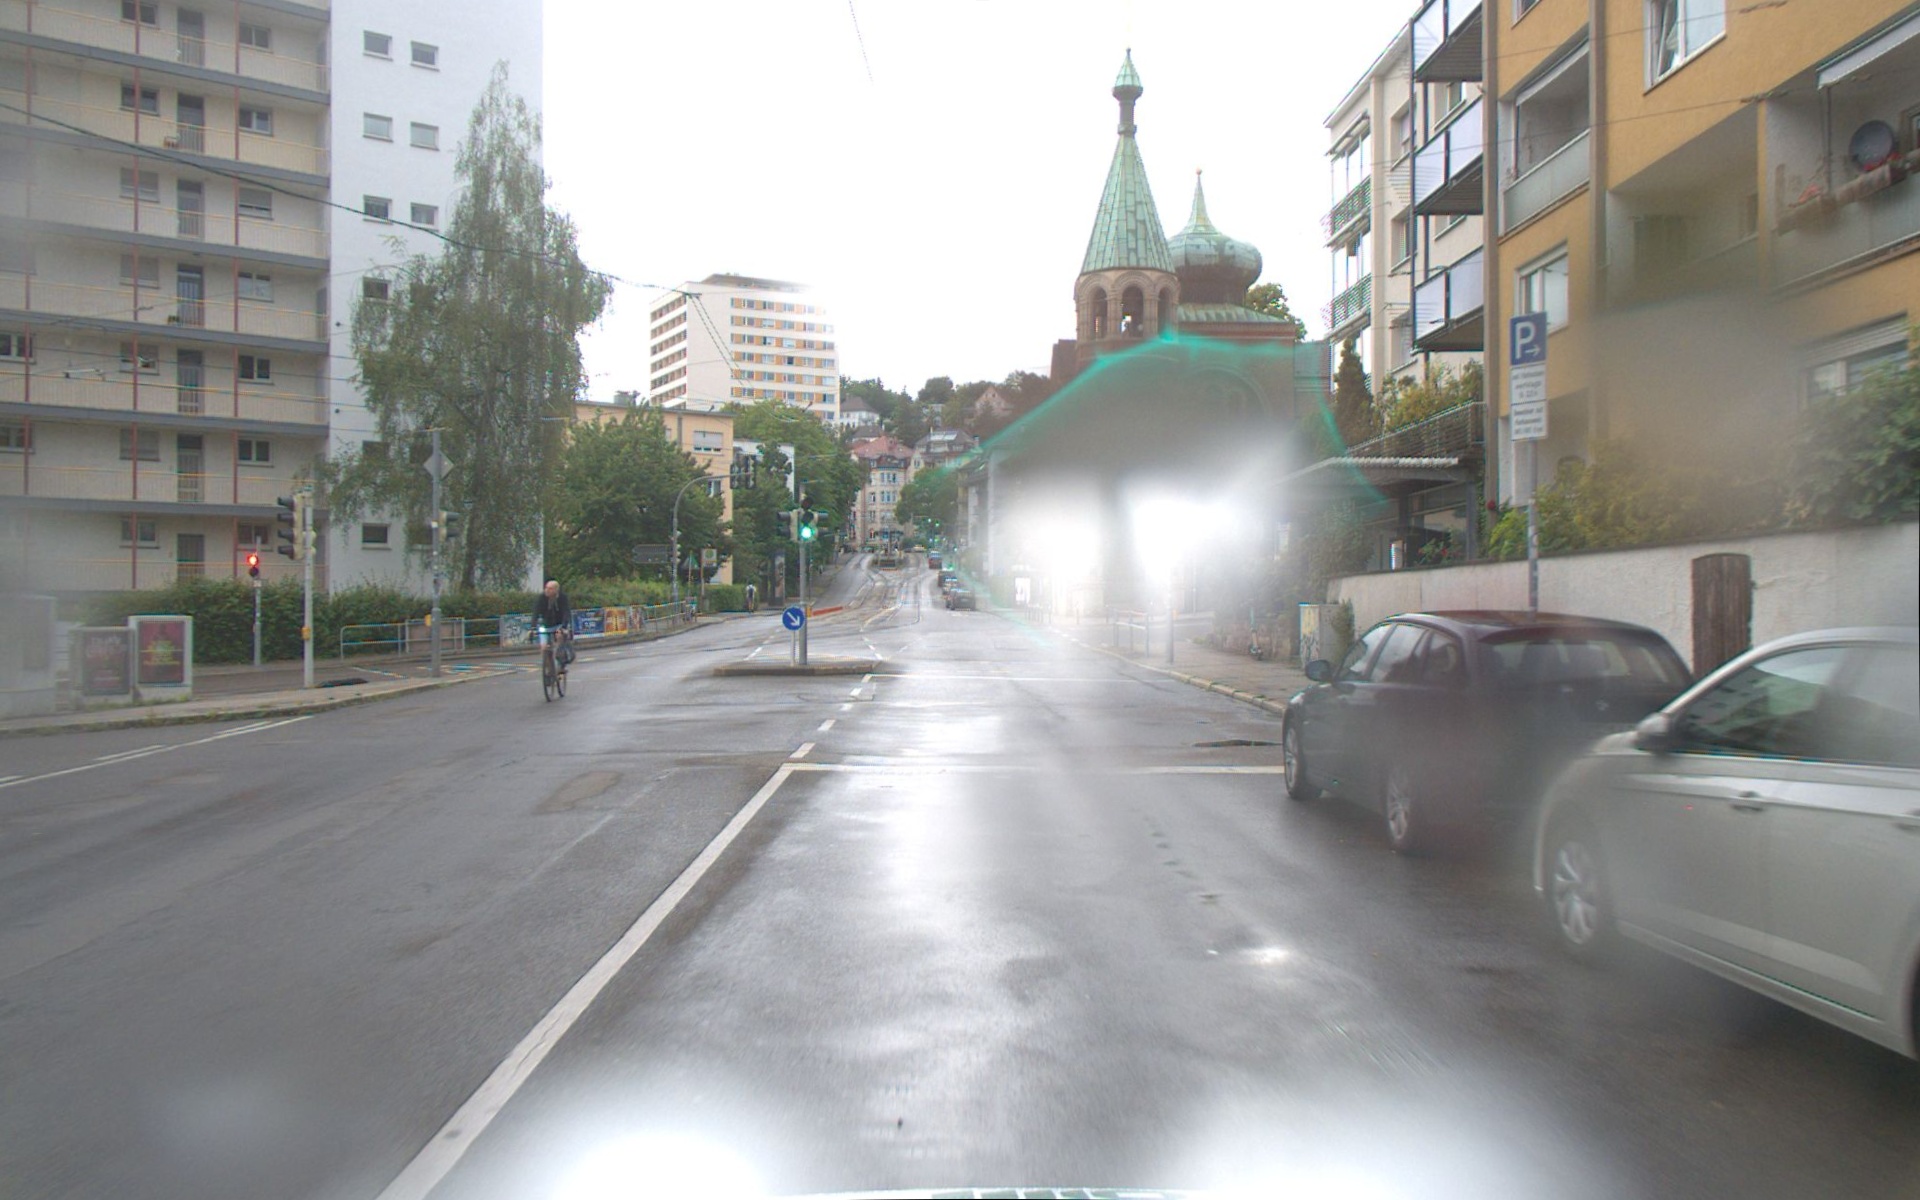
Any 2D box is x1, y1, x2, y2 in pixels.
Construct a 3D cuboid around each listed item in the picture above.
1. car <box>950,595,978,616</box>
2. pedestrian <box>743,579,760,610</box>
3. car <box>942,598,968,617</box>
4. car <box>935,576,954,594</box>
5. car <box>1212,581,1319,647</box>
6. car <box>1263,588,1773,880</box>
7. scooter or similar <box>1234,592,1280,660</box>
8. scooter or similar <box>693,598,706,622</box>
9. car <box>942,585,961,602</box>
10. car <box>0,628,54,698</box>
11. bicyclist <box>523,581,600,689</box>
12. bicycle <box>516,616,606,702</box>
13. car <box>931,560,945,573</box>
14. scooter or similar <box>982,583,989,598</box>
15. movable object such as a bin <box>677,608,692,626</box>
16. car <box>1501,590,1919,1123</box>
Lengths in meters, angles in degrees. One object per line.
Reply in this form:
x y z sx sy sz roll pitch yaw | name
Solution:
0.279 0.388 122.845 1.821 1.513 4.642 1 0 -3 | car
-12.645 -0.337 100.368 0.901 1.878 1.016 1 -1 -6 | pedestrian
-0.412 0.605 133.983 1.901 1.489 4.203 1 0 -4 | car
-1.688 -1.584 175.519 1.868 1.670 4.688 1 2 -3 | car
7.835 0.413 42.828 1.816 1.529 4.447 -3 -2 -1 | car
3.331 0.691 10.873 1.695 1.485 4.477 1 1 -2 | car
6.130 0.529 34.230 0.524 1.350 1.658 -5 0 -1 | scooter or similar
-13.090 0.501 83.177 0.562 1.205 1.595 1 -2 -11 | scooter or similar
-0.841 -0.608 159.341 1.670 1.458 4.100 1 2 -3 | car
-22.594 1.499 36.244 1.842 1.486 4.462 -3 0 44 | car
-5.673 0.502 23.607 0.807 1.487 1.140 1 -2 -1 | bicyclist
-5.672 0.833 23.630 0.807 1.168 2.126 0 -1 -1 | bicycle
-2.992 -4.484 223.511 1.764 1.674 4.001 1 0 1 | car
2.439 -0.929 159.987 0.562 1.270 1.612 1 4 4 | scooter or similar
-13.556 0.838 81.295 0.673 0.897 0.759 1 -2 -7 | movable object such as a bin
3.431 0.749 5.660 1.615 1.485 4.099 1 -1 -4 | car
